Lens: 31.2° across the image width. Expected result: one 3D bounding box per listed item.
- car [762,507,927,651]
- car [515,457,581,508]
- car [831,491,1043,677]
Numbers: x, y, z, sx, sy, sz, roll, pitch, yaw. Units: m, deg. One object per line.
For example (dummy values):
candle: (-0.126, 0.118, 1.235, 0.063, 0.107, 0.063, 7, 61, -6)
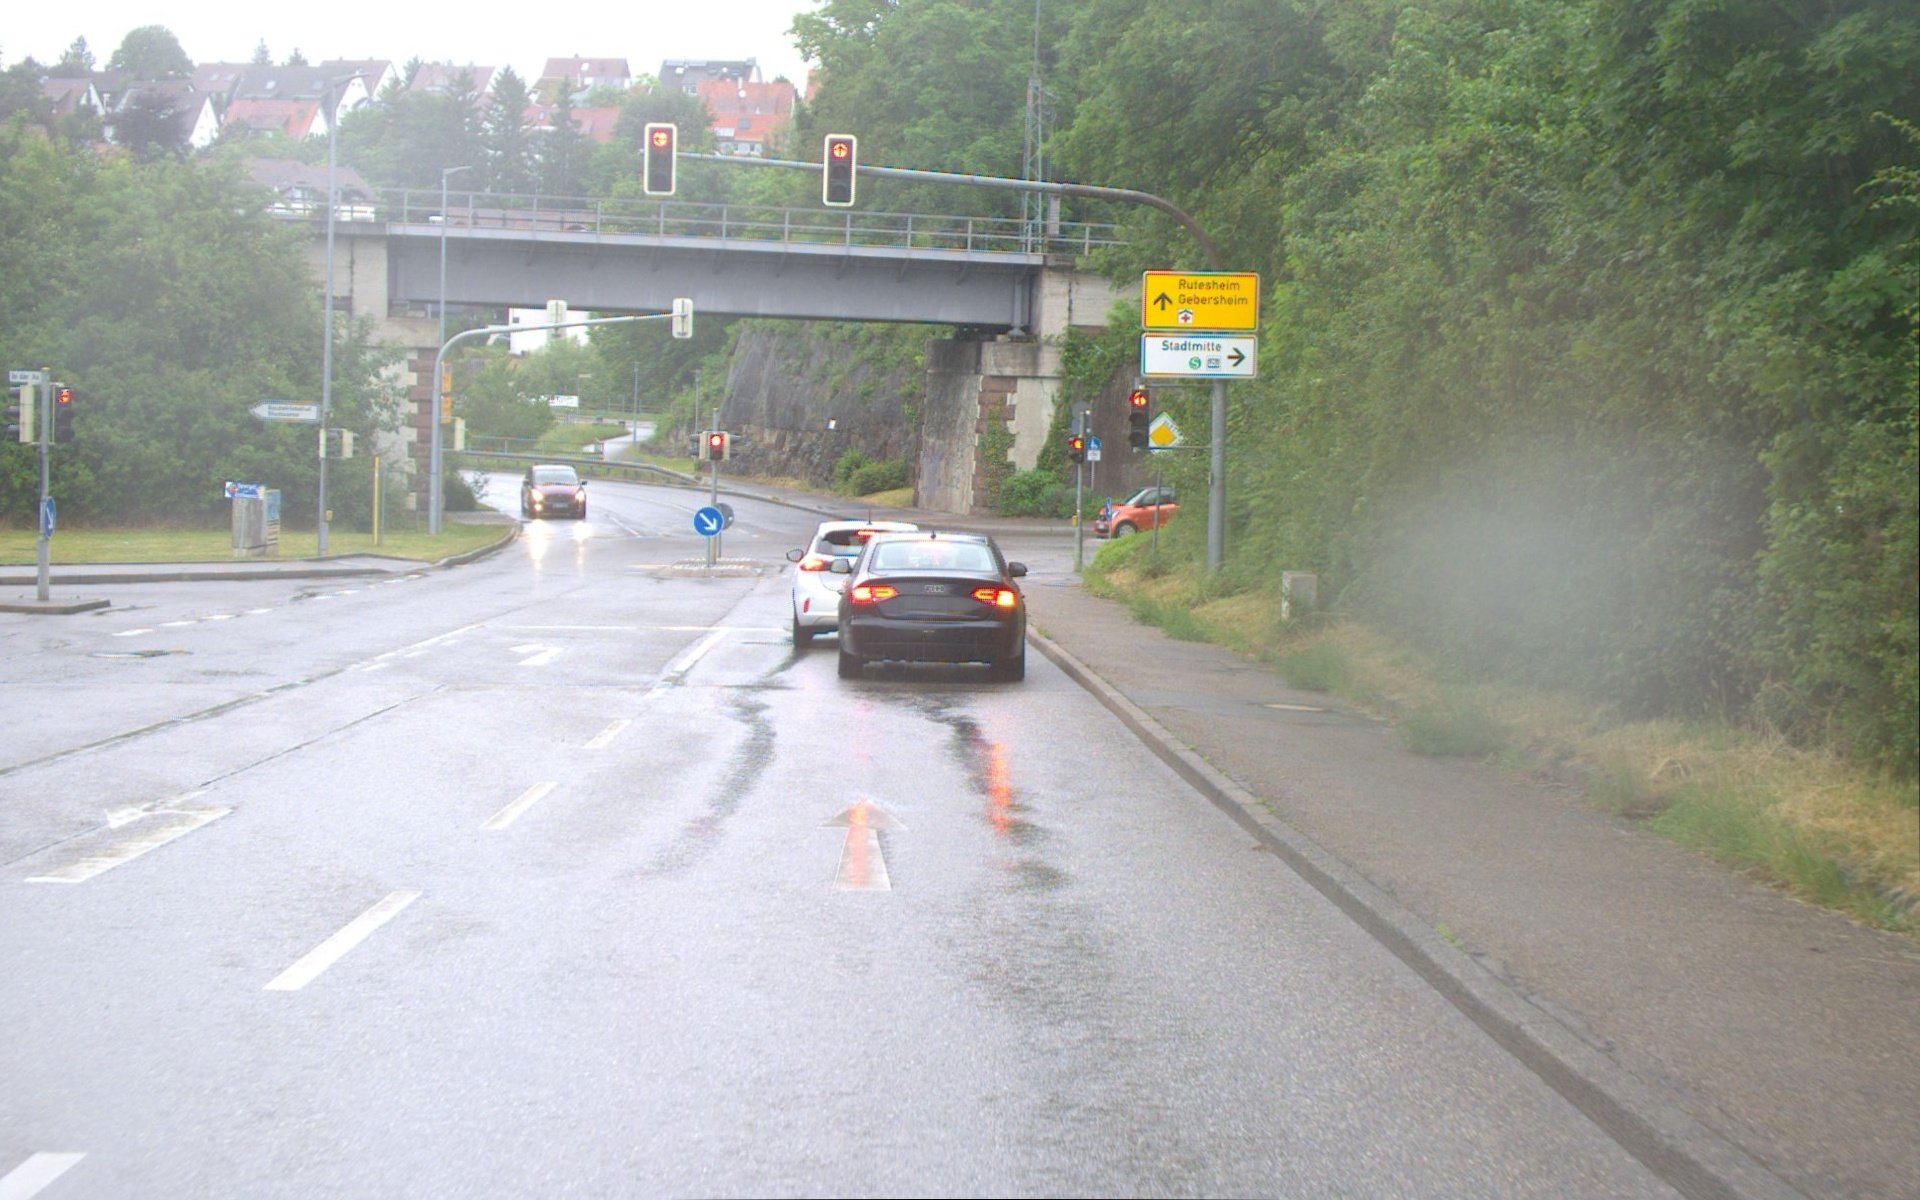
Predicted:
car: (-1.334, -0.257, 40.301, 1.823, 1.579, 4.000, 1, 1, -1)
car: (-13.671, -3.887, 114.004, 1.993, 1.622, 4.001, 0, 1, -9)
car: (-0.238, -0.196, 33.342, 1.870, 1.611, 4.000, 2, 1, -1)
